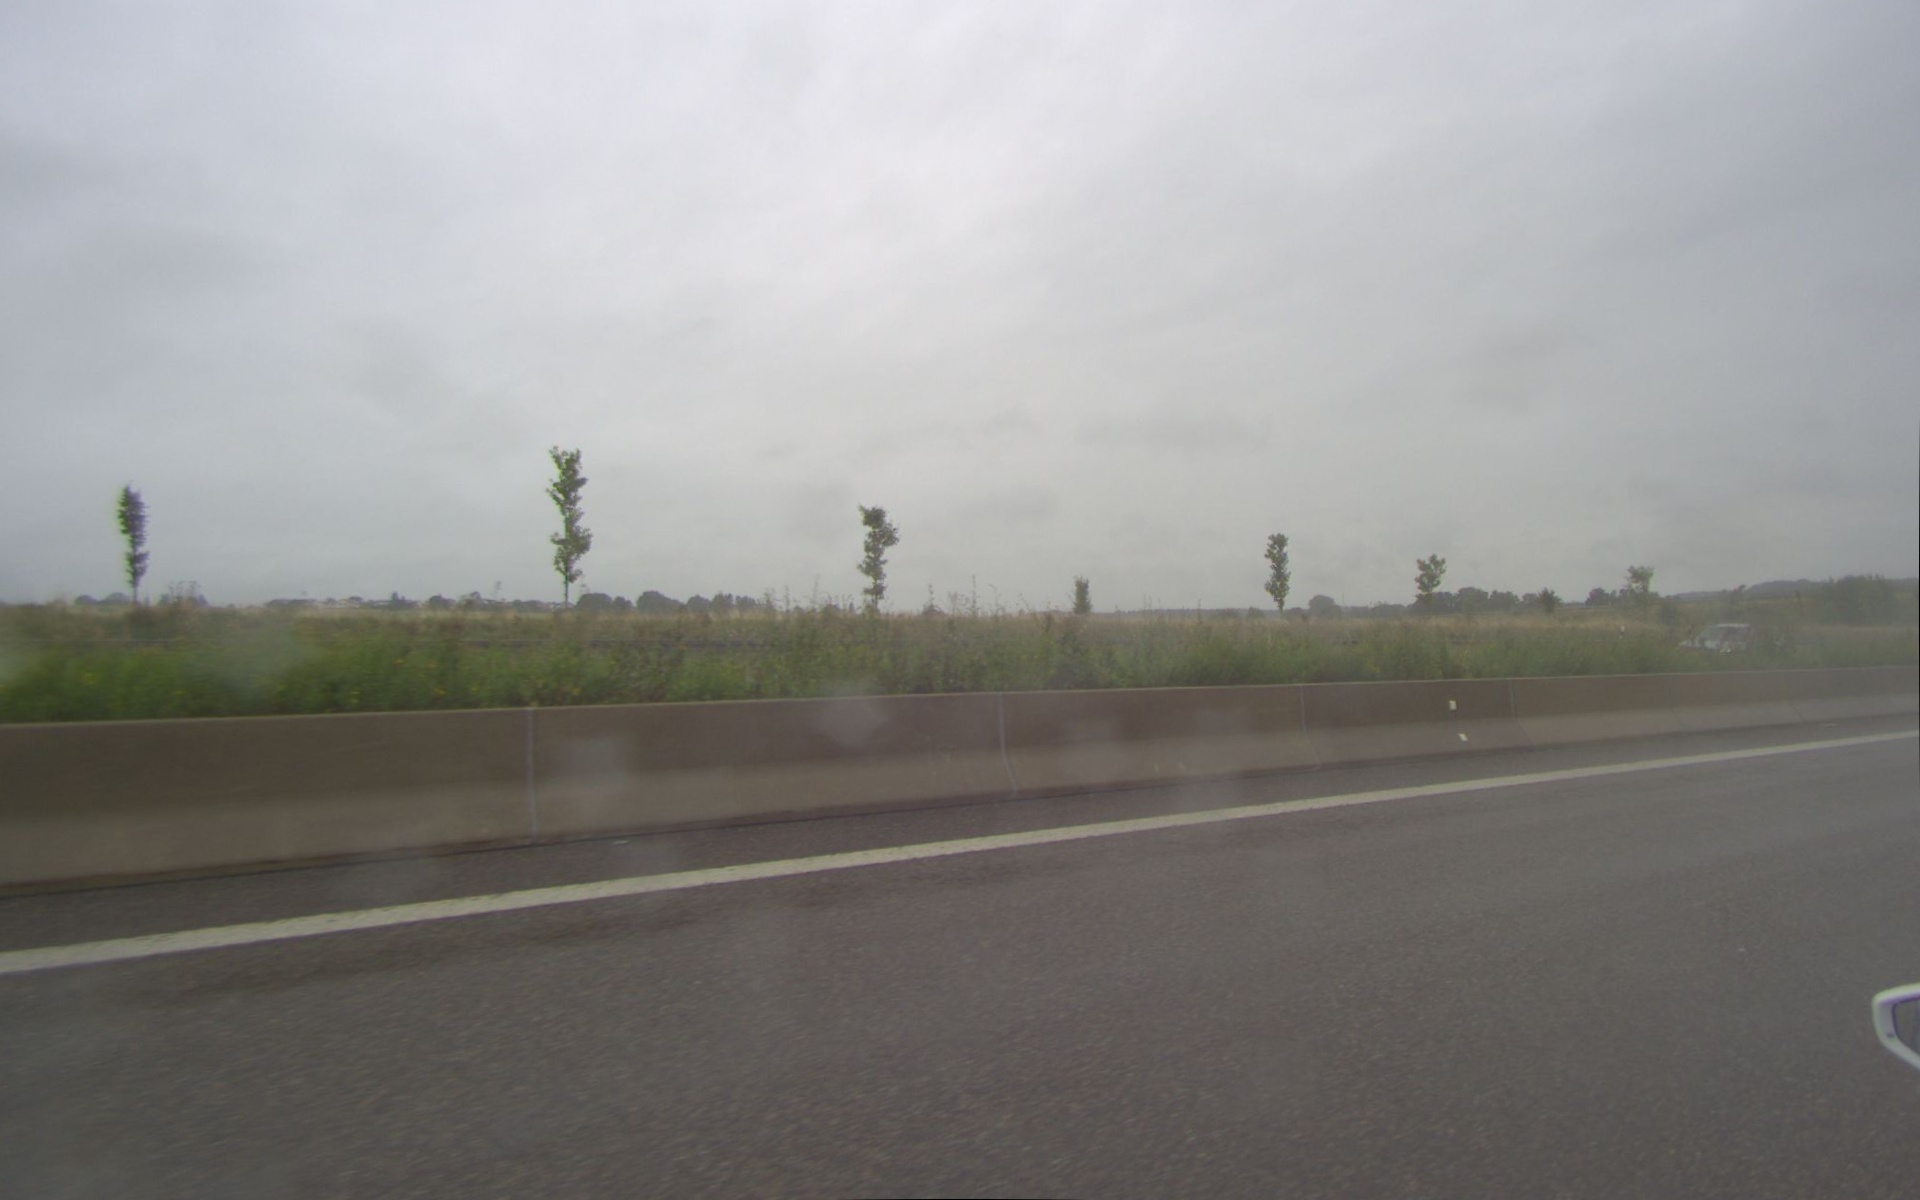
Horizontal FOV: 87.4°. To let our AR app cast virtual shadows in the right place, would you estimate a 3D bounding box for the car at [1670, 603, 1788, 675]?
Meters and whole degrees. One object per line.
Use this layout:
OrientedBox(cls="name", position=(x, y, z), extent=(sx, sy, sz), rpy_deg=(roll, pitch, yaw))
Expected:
OrientedBox(cls="car", position=(23.071, 1.156, 30.123), extent=(3.401, 2.040, 1.667), rpy_deg=(1, -1, -30))
